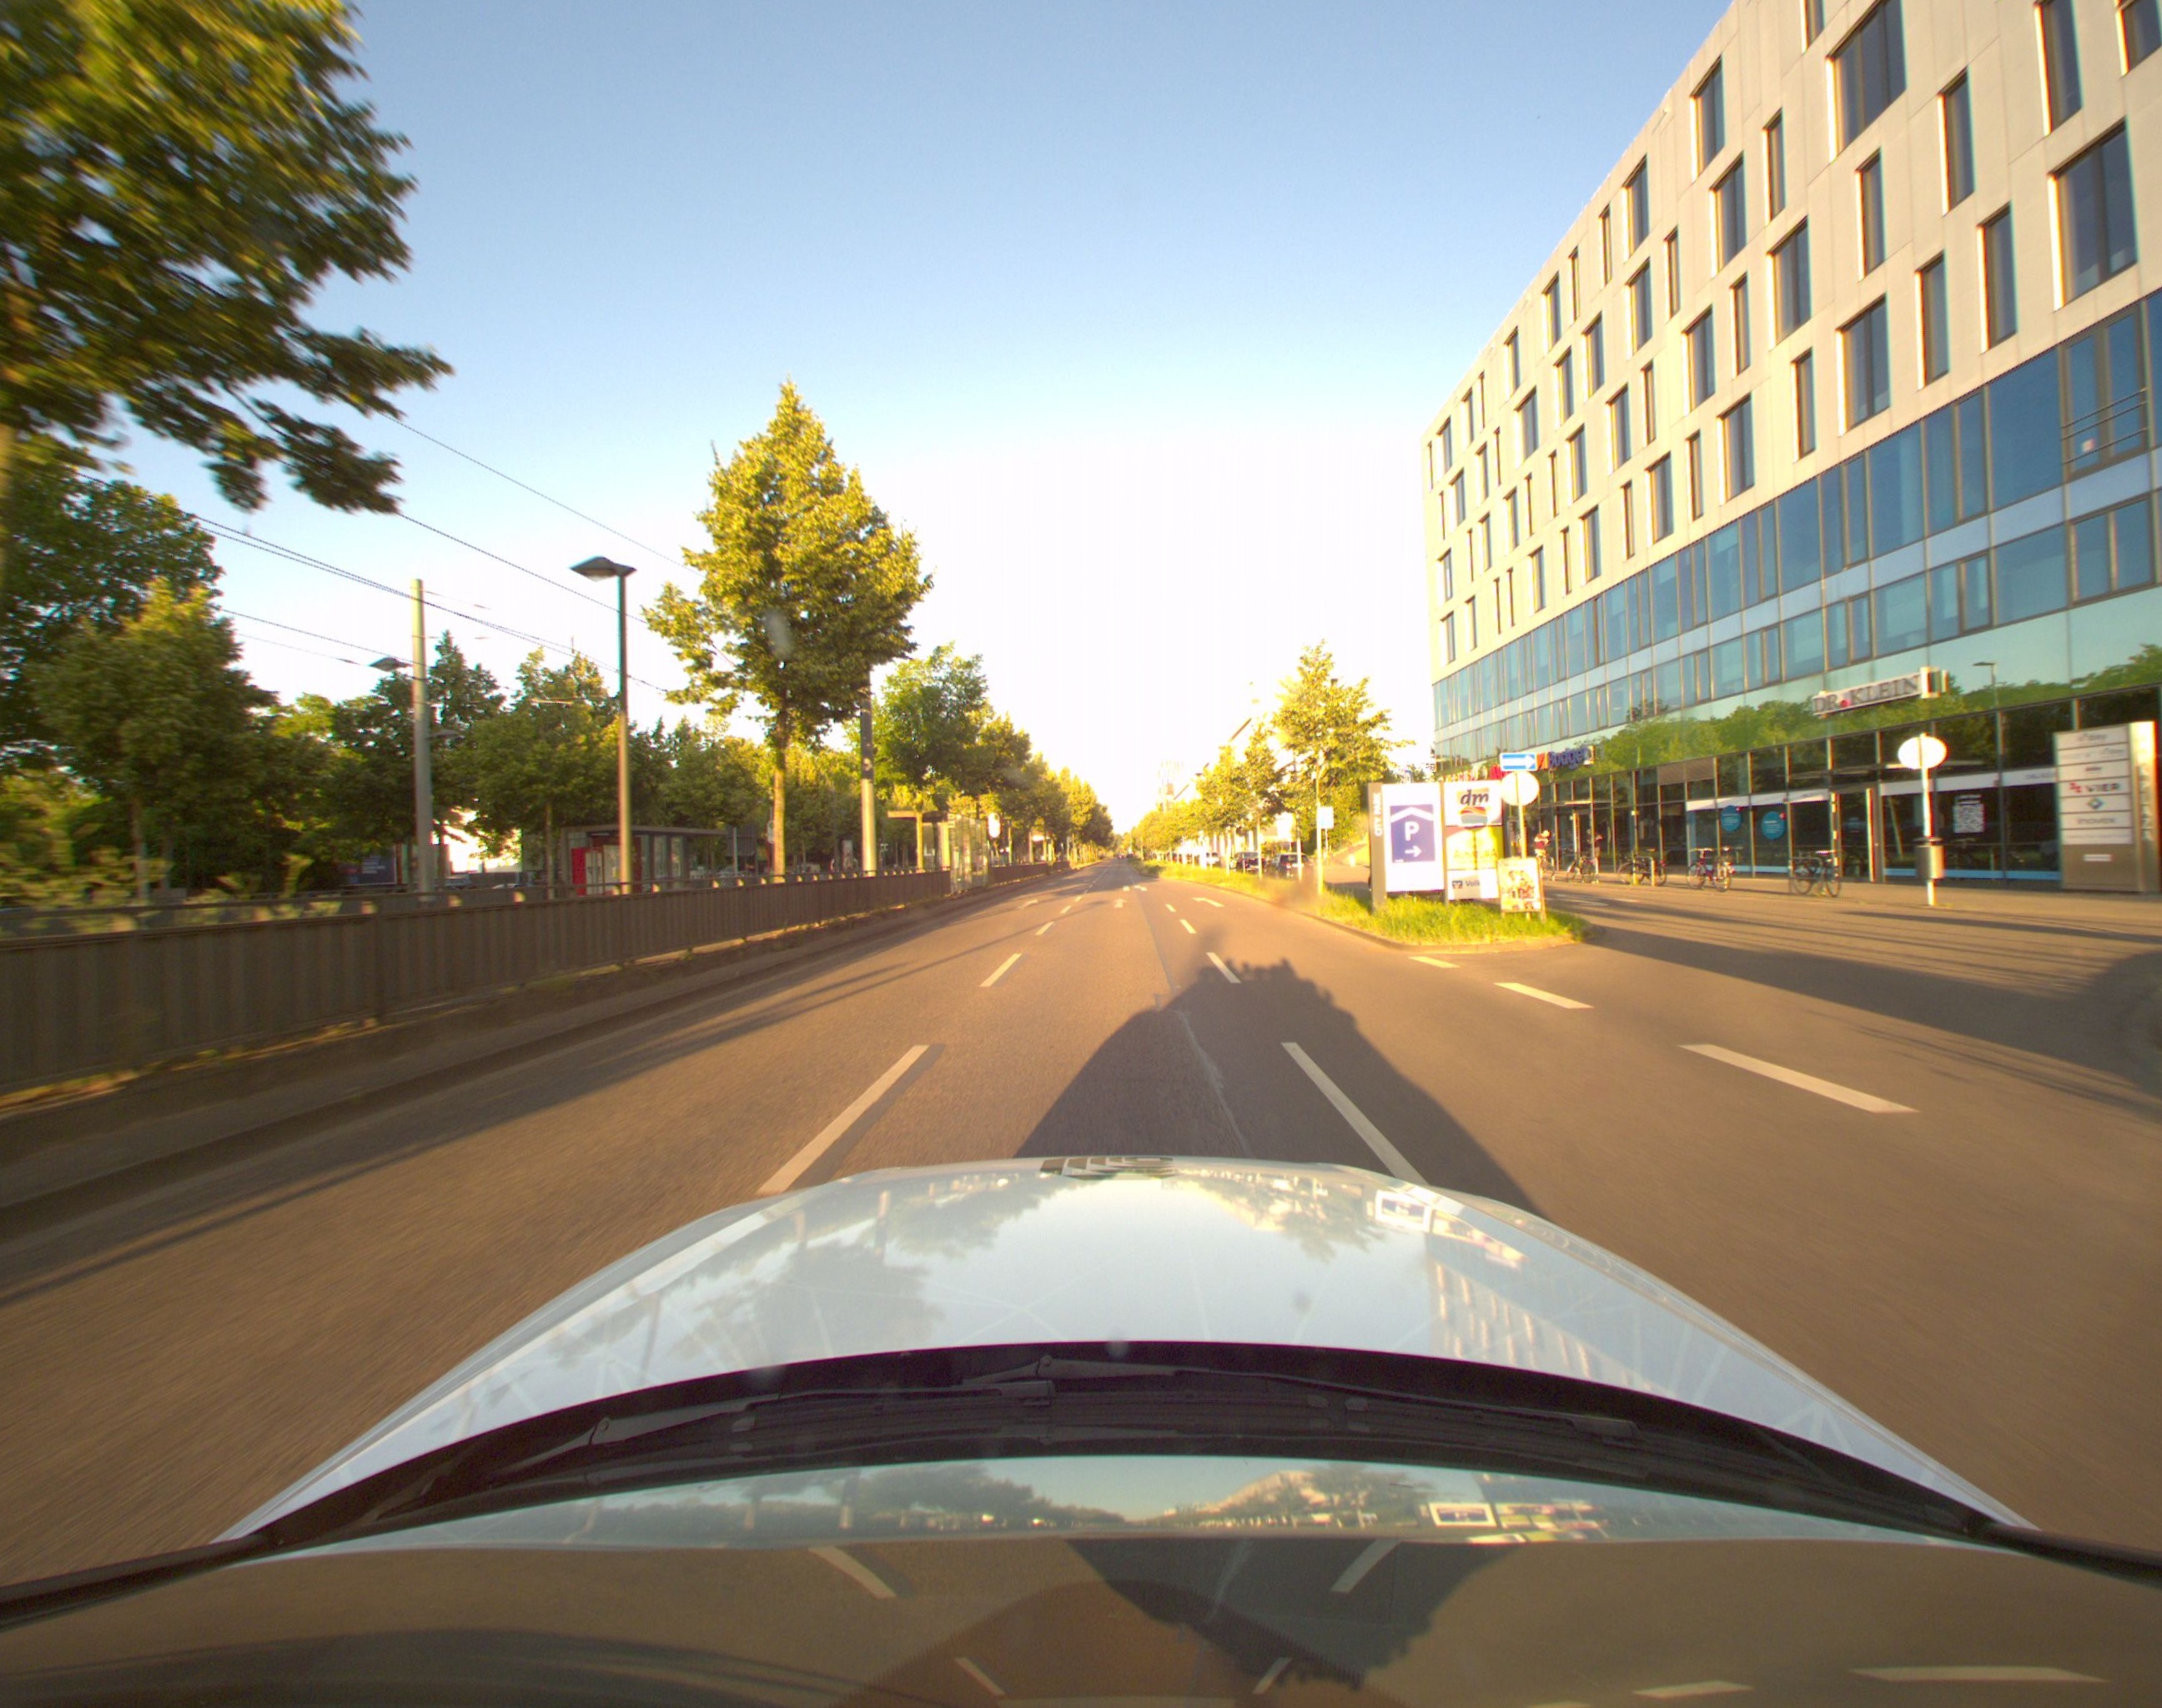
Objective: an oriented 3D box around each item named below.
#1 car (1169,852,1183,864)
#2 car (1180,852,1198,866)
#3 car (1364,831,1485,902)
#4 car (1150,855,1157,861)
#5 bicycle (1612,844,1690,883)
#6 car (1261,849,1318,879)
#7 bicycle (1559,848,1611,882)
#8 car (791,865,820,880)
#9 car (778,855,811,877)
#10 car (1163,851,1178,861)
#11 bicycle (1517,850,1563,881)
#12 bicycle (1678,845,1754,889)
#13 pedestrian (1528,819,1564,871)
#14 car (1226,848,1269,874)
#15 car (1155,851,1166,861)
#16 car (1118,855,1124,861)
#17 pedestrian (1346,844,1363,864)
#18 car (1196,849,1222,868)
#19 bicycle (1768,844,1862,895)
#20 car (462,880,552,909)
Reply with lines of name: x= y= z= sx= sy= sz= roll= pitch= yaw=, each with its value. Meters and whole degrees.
car: x=14.496 y=0.556 z=124.445 sx=1.887 sy=1.771 sz=3.948 roll=-2 pitch=0 yaw=2
car: x=13.326 y=0.594 z=100.732 sx=2.019 sy=1.697 sz=4.404 roll=0 pitch=0 yaw=6
car: x=9.676 y=0.341 z=23.319 sx=1.843 sy=1.828 sz=4.399 roll=0 pitch=0 yaw=3
car: x=18.939 y=1.060 z=213.328 sx=1.689 sy=1.596 sz=4.001 roll=-3 pitch=-1 yaw=2
bicycle: x=16.786 y=0.277 z=24.054 sx=0.633 sy=1.068 sz=2.118 roll=-2 pitch=0 yaw=-5
car: x=10.369 y=0.484 z=40.766 sx=1.818 sy=1.435 sz=4.461 roll=0 pitch=0 yaw=2
bicycle: x=16.819 y=0.344 z=27.226 sx=0.631 sy=1.068 sz=2.126 roll=-2 pitch=0 yaw=7
car: x=-36.139 y=2.361 z=106.826 sx=1.896 sy=1.816 sz=4.228 roll=-3 pitch=-1 yaw=7
car: x=-30.301 y=1.249 z=86.320 sx=1.767 sy=2.184 sz=4.004 roll=-2 pitch=0 yaw=3
car: x=14.446 y=0.328 z=131.256 sx=1.767 sy=1.636 sz=3.559 roll=-2 pitch=0 yaw=-2
bicycle: x=16.769 y=0.410 z=29.824 sx=0.631 sy=1.068 sz=2.125 roll=-2 pitch=0 yaw=5
bicycle: x=16.429 y=0.307 z=21.130 sx=0.630 sy=1.068 sz=2.129 roll=-2 pitch=0 yaw=12
pedestrian: x=19.361 y=-0.364 z=33.913 sx=0.808 sy=2.089 sz=1.114 roll=-3 pitch=-1 yaw=5
car: x=11.192 y=0.439 z=54.914 sx=1.987 sy=1.697 sz=4.593 roll=0 pitch=0 yaw=0
car: x=16.847 y=0.383 z=171.676 sx=1.986 sy=2.013 sz=4.002 roll=-2 pitch=0 yaw=2
car: x=12.043 y=1.191 z=244.118 sx=1.689 sy=1.596 sz=4.001 roll=-3 pitch=-1 yaw=2
pedestrian: x=19.408 y=-0.002 z=57.817 sx=0.821 sy=1.442 sz=1.056 roll=-2 pitch=0 yaw=2
car: x=12.174 y=0.425 z=77.785 sx=1.986 sy=1.697 sz=4.417 roll=0 pitch=0 yaw=2
bicycle: x=16.437 y=0.326 z=18.293 sx=0.539 sy=1.068 sz=2.010 roll=-2 pitch=0 yaw=9
car: x=-34.014 y=2.371 z=48.415 sx=1.983 sy=1.464 sz=4.252 roll=-3 pitch=0 yaw=7
